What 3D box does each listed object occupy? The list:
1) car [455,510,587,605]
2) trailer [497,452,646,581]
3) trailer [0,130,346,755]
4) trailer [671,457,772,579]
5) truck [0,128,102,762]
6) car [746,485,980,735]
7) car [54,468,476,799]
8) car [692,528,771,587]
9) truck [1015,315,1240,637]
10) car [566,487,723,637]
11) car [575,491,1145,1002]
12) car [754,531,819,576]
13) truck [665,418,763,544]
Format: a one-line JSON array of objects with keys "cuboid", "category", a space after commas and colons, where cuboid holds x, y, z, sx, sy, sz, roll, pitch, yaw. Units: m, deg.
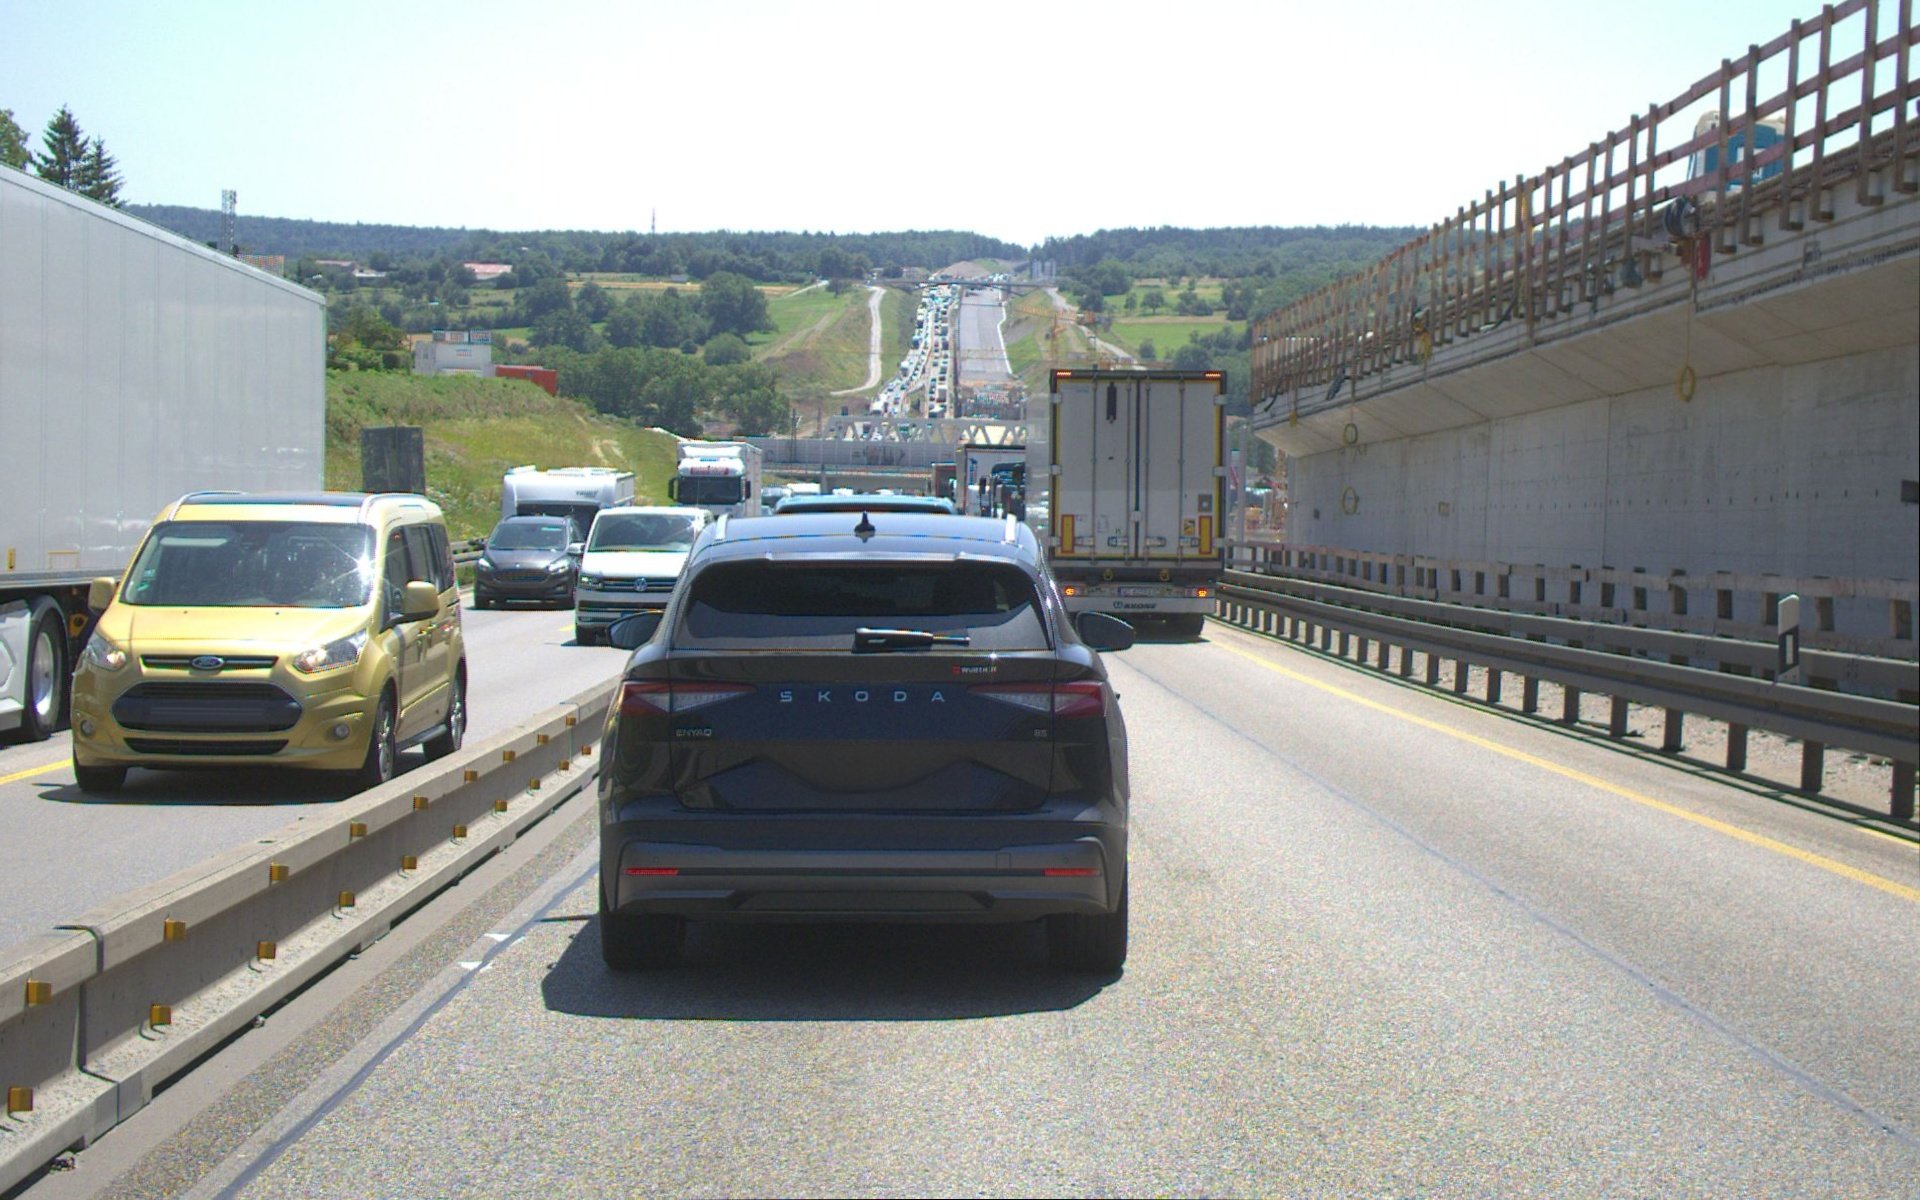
[{"cuboid": [-8.215, -0.814, 64.705, 1.877, 1.706, 4.648, 1, 1, 0], "category": "car"}, {"cuboid": [-8.161, -1.713, 72.762, 2.485, 2.604, 5.867, 0, 0, 0], "category": "trailer"}, {"cuboid": [-8.027, -1.179, 29.312, 3.220, 4.144, 13.409, 1, 1, 0], "category": "trailer"}, {"cuboid": [-9.251, -3.100, 135.010, 2.760, 4.259, 14.634, 5, 0, -1], "category": "trailer"}, {"cuboid": [-8.003, -1.052, 22.277, 3.180, 4.223, 6.485, 1, 0, 0], "category": "truck"}, {"cuboid": [-0.877, 0.052, 29.224, 1.749, 1.889, 3.756, 3, 1, -3], "category": "car"}, {"cuboid": [-4.189, 0.148, 21.385, 1.775, 1.814, 4.434, 1, 1, -1], "category": "car"}, {"cuboid": [-5.700, -1.045, 86.016, 1.702, 1.436, 4.000, 0, 0, 0], "category": "car"}, {"cuboid": [2.533, -1.822, 55.943, 2.846, 4.599, 11.811, 2, 0, -1], "category": "truck"}, {"cuboid": [-4.469, -0.525, 49.275, 1.862, 2.007, 4.805, 1, 0, -1], "category": "car"}, {"cuboid": [-0.384, 0.442, 12.800, 1.782, 1.592, 3.755, 1, 1, -2], "category": "car"}, {"cuboid": [-5.288, -1.413, 105.273, 1.771, 1.284, 4.000, 2, 0, 0], "category": "car"}, {"cuboid": [-9.123, -4.364, 128.298, 2.753, 4.212, 8.099, 5, 0, 0], "category": "truck"}]
